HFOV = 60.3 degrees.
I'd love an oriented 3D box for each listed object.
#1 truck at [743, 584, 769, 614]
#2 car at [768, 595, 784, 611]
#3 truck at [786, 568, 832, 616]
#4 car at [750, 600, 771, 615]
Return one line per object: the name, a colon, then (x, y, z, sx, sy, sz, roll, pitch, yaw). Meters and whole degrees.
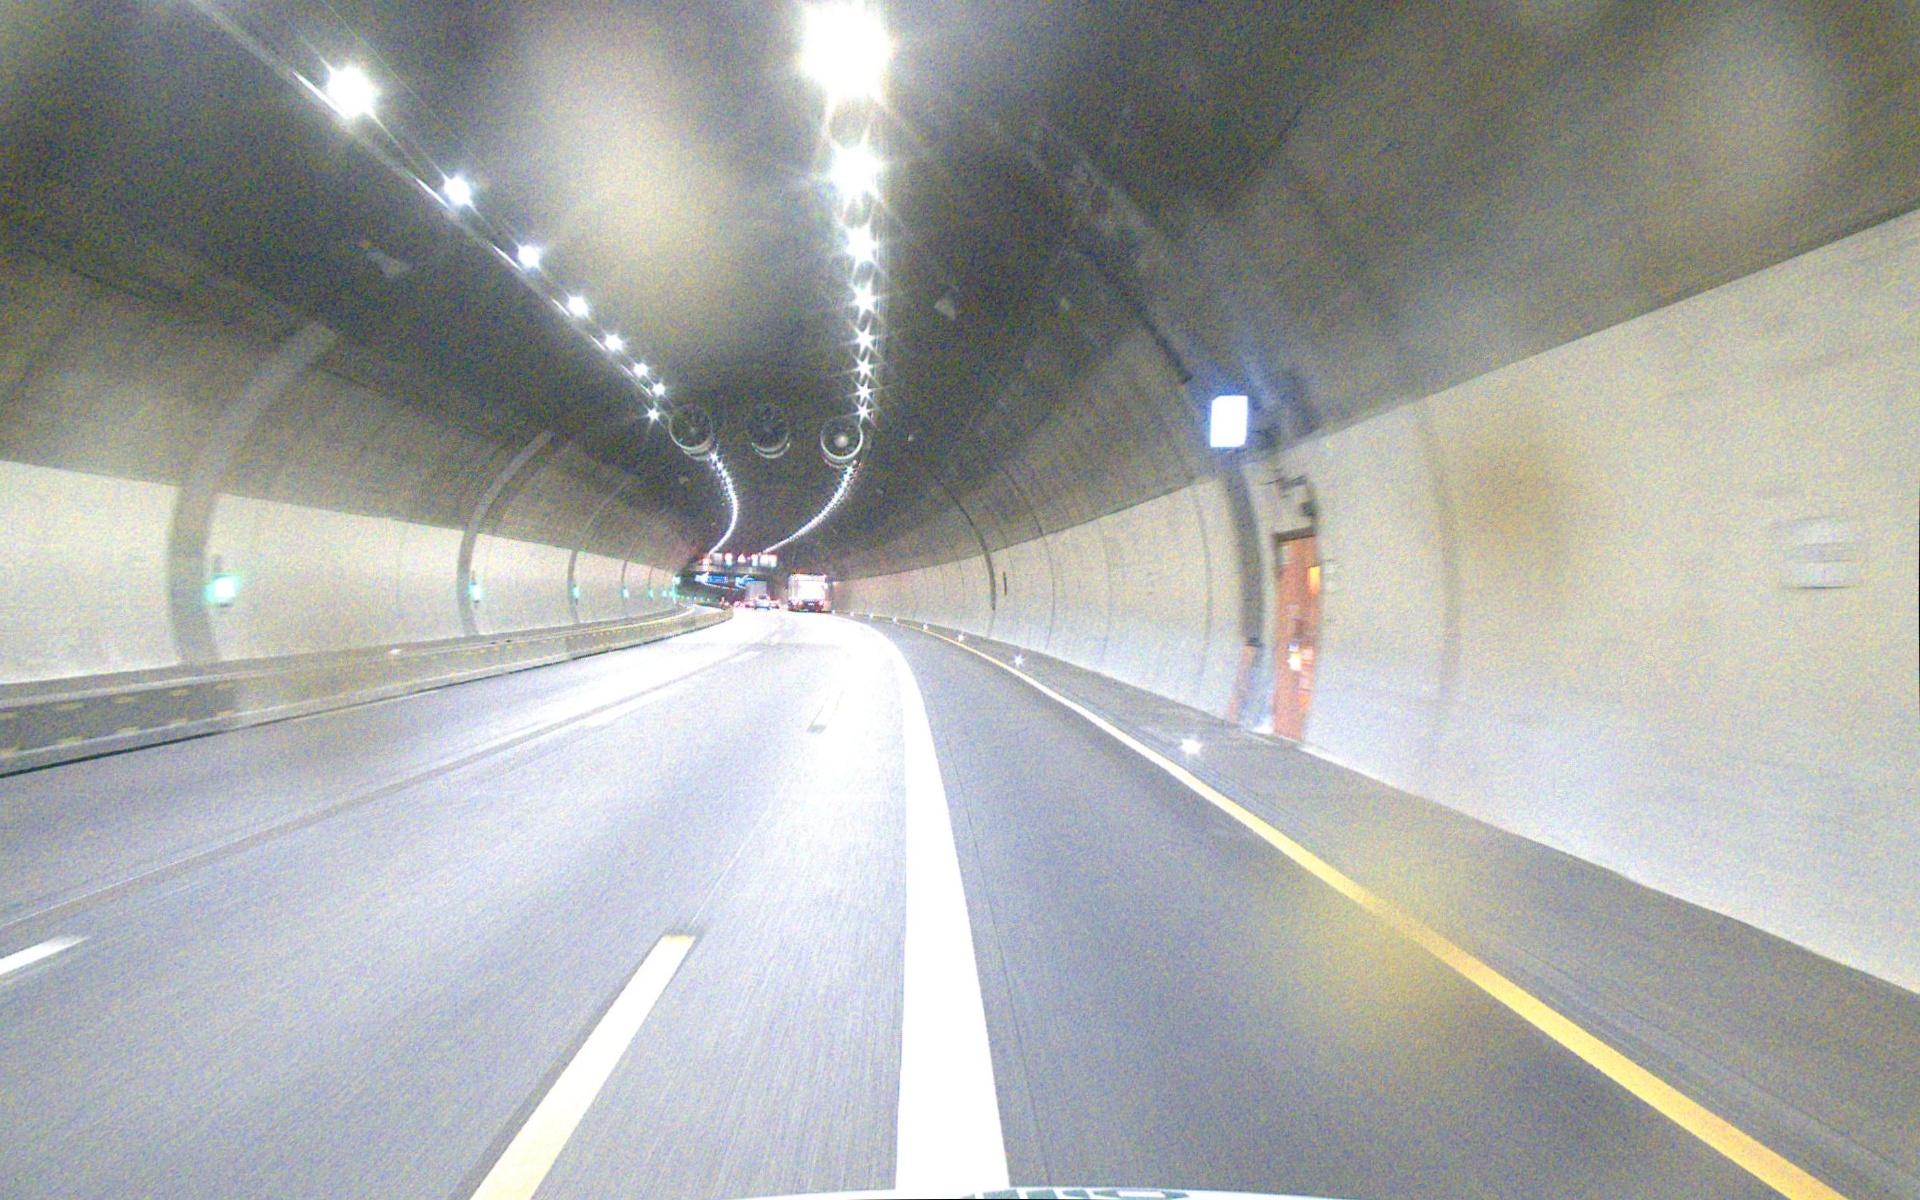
truck: (-31.551, -0.139, 255.125, 3.411, 4.392, 10.925, 0, 0, -10)
car: (-24.015, 0.348, 215.608, 1.956, 2.049, 3.992, 0, 0, -8)
truck: (-14.436, -0.783, 157.715, 3.411, 4.391, 10.925, 0, 0, -10)
car: (-21.527, 0.780, 178.130, 1.958, 1.609, 3.989, 1, 0, -11)
